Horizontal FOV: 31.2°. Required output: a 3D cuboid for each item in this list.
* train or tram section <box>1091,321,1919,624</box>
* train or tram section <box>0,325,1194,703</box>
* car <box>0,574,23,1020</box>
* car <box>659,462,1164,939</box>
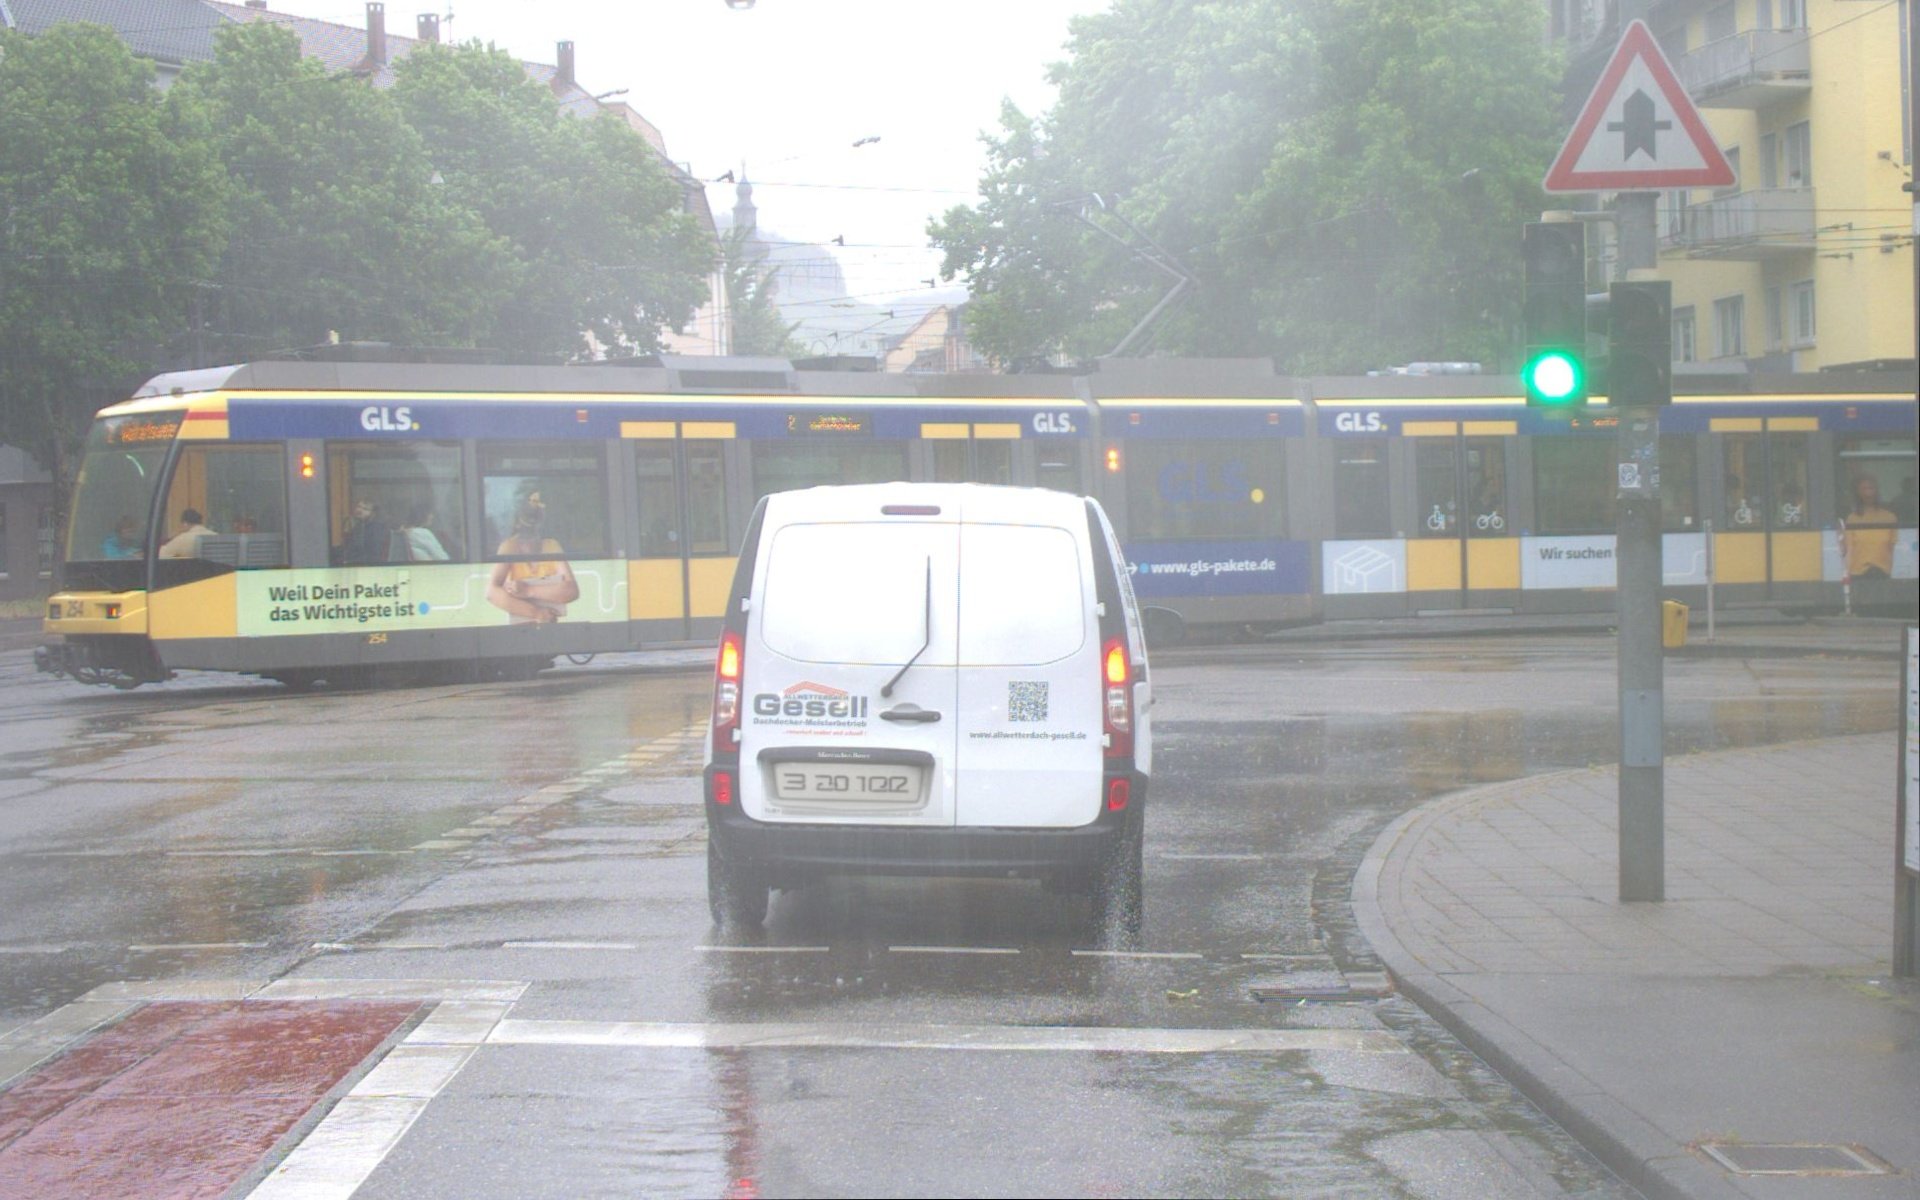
[{"bbox_3d":[9.188,-1.772,45.164,14.623,3.546,3.117,-2,2,-16],"label":"train or tram section"},{"bbox_3d":[-3.538,-1.130,38.346,14.539,3.546,3.114,-3,3,-43],"label":"train or tram section"},{"bbox_3d":[-4.078,0.651,9.557,1.882,1.454,3.832,0,0,0],"label":"car"},{"bbox_3d":[-0.099,0.356,15.004,1.904,1.791,4.113,0,1,2],"label":"car"}]
